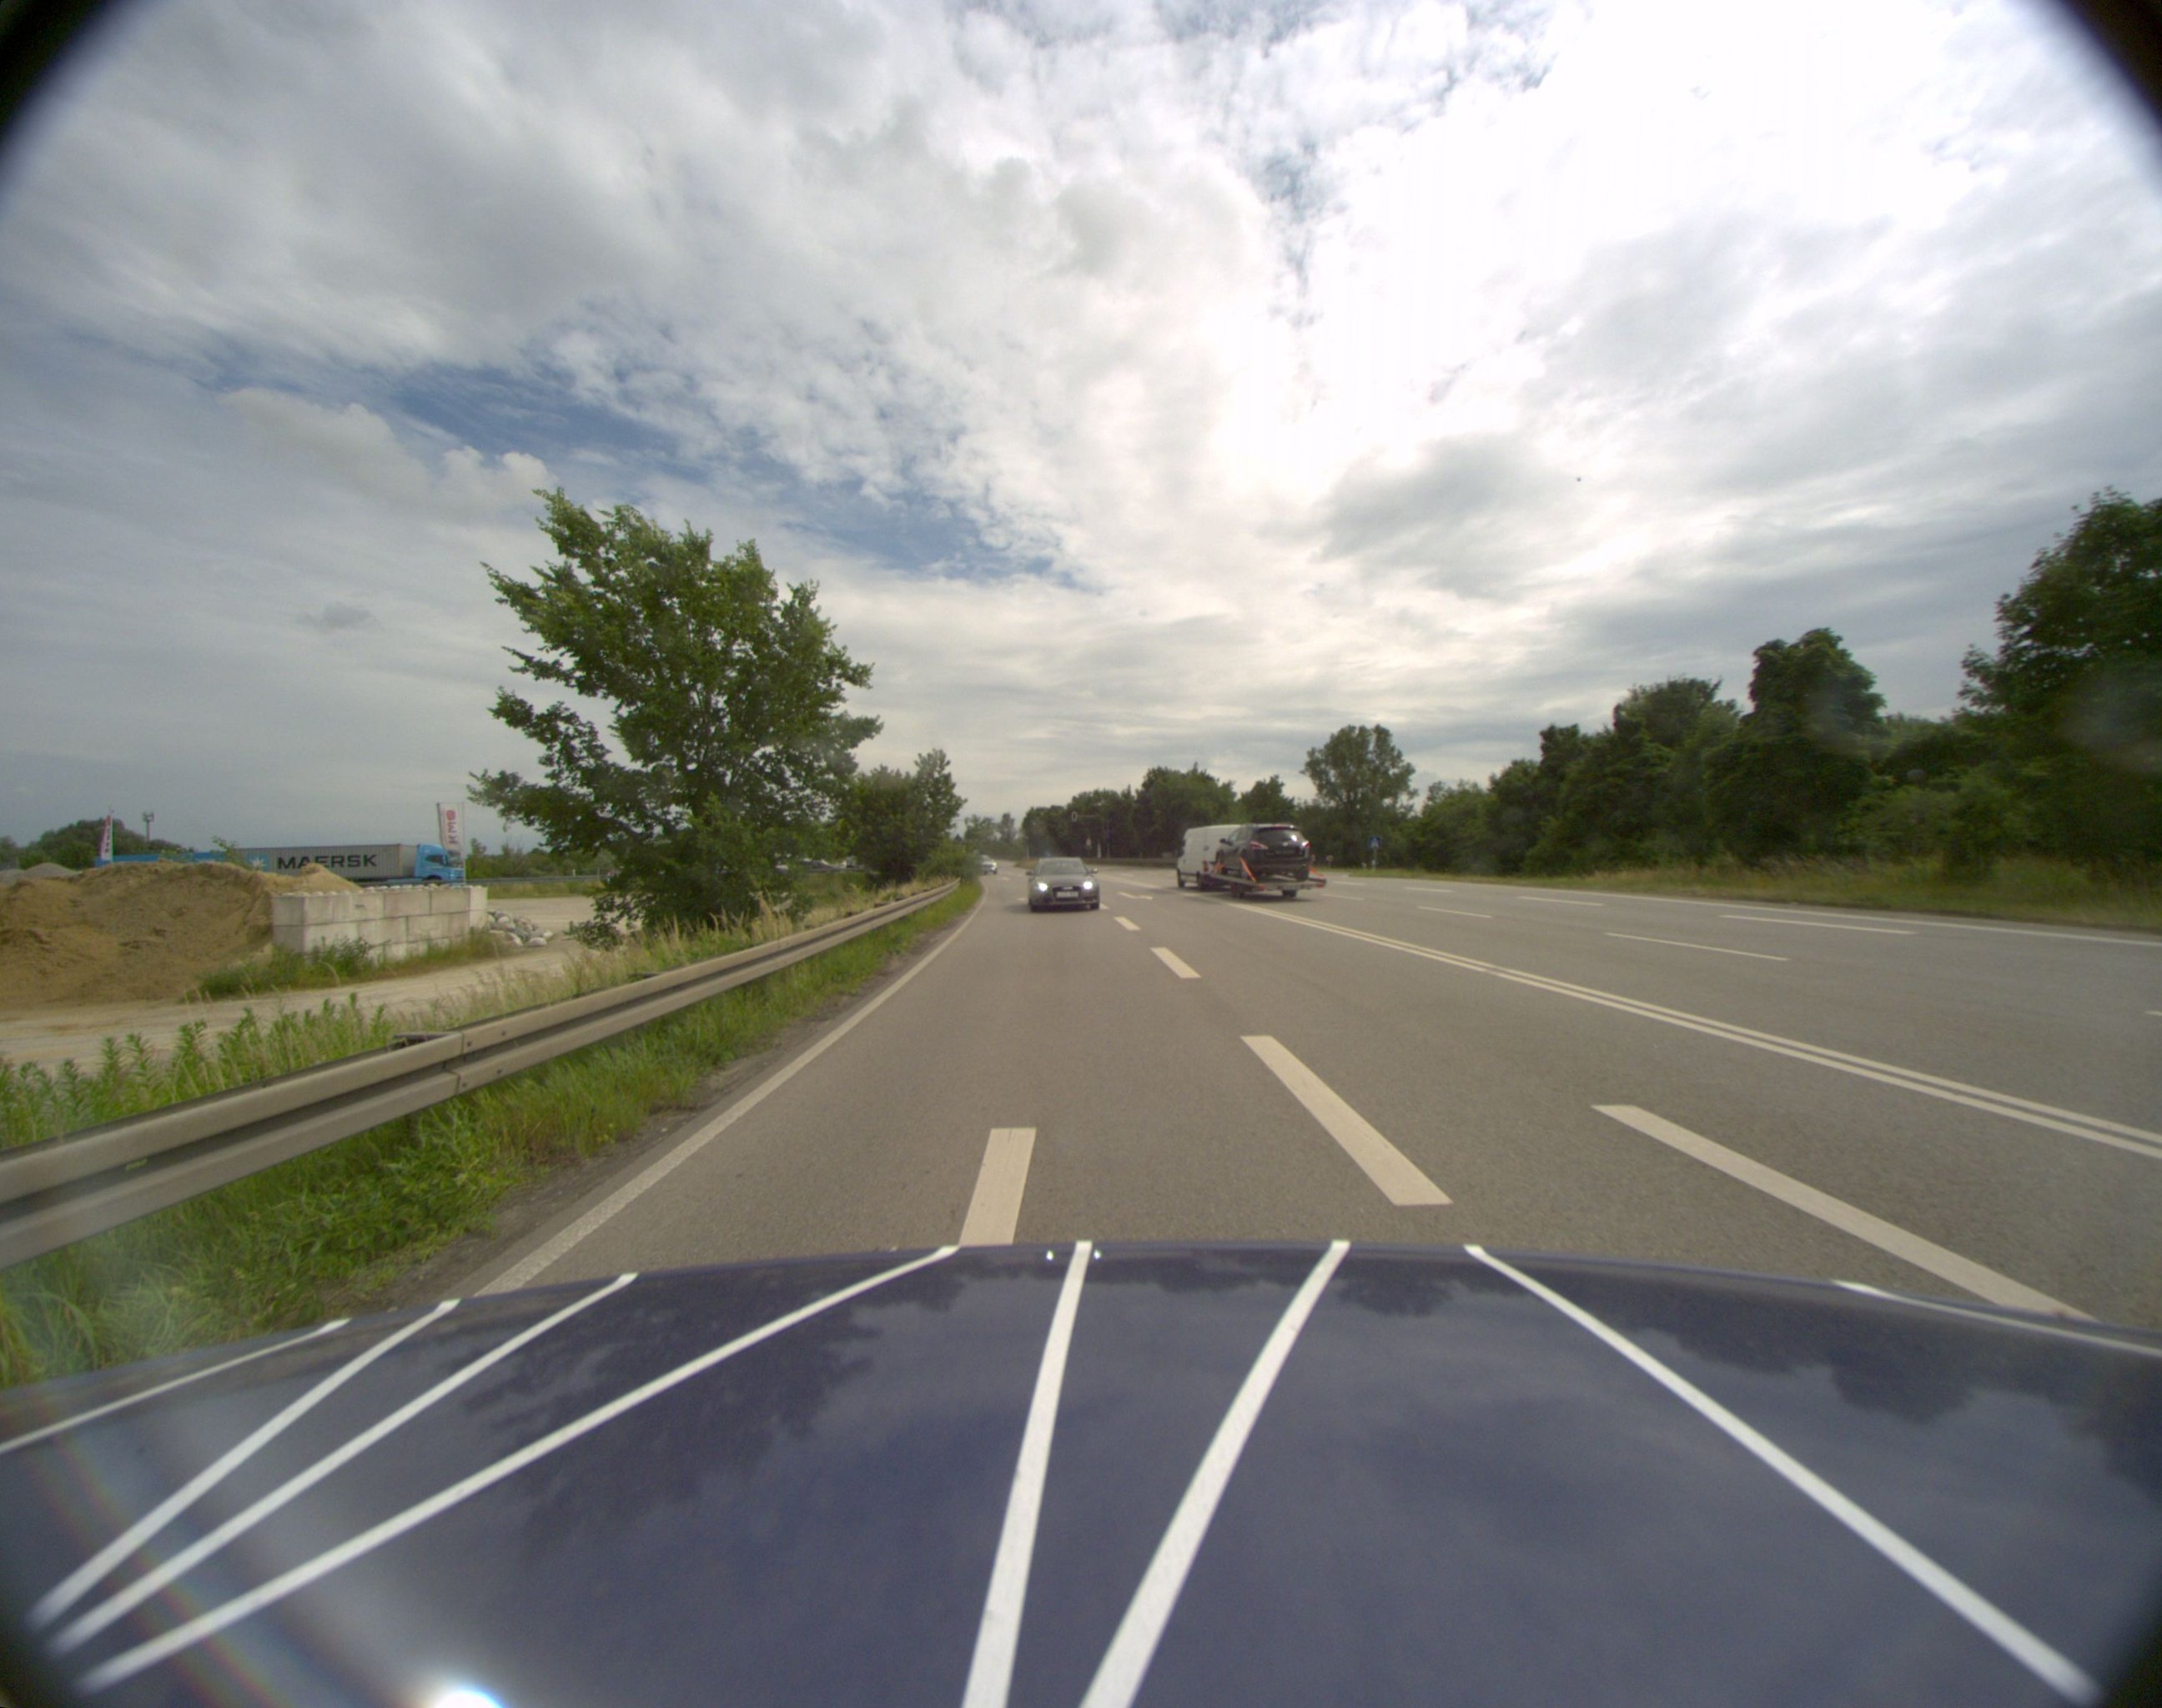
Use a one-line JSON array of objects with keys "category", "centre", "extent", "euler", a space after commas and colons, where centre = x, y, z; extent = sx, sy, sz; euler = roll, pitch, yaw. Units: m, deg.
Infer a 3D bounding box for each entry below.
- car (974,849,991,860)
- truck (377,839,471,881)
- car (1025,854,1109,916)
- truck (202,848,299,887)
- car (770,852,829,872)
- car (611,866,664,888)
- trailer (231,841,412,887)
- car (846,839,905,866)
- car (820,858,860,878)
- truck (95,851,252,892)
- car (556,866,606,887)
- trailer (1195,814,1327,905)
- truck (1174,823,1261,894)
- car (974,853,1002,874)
[{"category": "car", "centre": [-18.785, 0.072, 145.197], "extent": [2.002, 2.002, 3.992], "euler": [-3, 1, -25]}, {"category": "truck", "centre": [-57.359, 0.511, 66.485], "extent": [5.600, 3.285, 2.388], "euler": [-3, 0, -17]}, {"category": "car", "centre": [-0.509, 0.799, 21.782], "extent": [1.958, 1.527, 3.997], "euler": [-2, 0, -7]}, {"category": "truck", "centre": [-73.391, 1.177, 67.201], "extent": [5.980, 3.036, 2.392], "euler": [-3, 0, 4]}, {"category": "car", "centre": [-31.083, 0.895, 84.128], "extent": [5.902, 2.002, 2.058], "euler": [-2, 0, -18]}, {"category": "car", "centre": [-42.283, 2.171, 72.560], "extent": [4.003, 2.001, 1.928], "euler": [-1, -1, -18]}, {"category": "trailer", "centre": [-64.402, 0.829, 64.697], "extent": [11.235, 3.290, 2.389], "euler": [-3, 0, -12]}, {"category": "car", "centre": [-21.042, -0.134, 77.942], "extent": [5.417, 2.552, 2.459], "euler": [-1, 0, -5]}, {"category": "car", "centre": [-26.227, 1.542, 82.681], "extent": [4.002, 2.002, 1.997], "euler": [-2, 0, -16]}, {"category": "truck", "centre": [-80.729, 1.513, 67.659], "extent": [11.747, 3.036, 2.392], "euler": [-3, 0, 4]}, {"category": "car", "centre": [-53.293, 2.391, 81.108], "extent": [4.003, 2.002, 1.928], "euler": [-2, 0, -18]}, {"category": "trailer", "centre": [5.533, 0.155, 24.574], "extent": [2.029, 2.430, 6.963], "euler": [-2, 0, -5]}, {"category": "truck", "centre": [5.144, 0.165, 29.433], "extent": [2.029, 2.430, 5.022], "euler": [-2, 0, -4]}, {"category": "car", "centre": [-7.868, 0.779, 64.175], "extent": [2.022, 1.603, 4.277], "euler": [-2, 0, -10]}]
